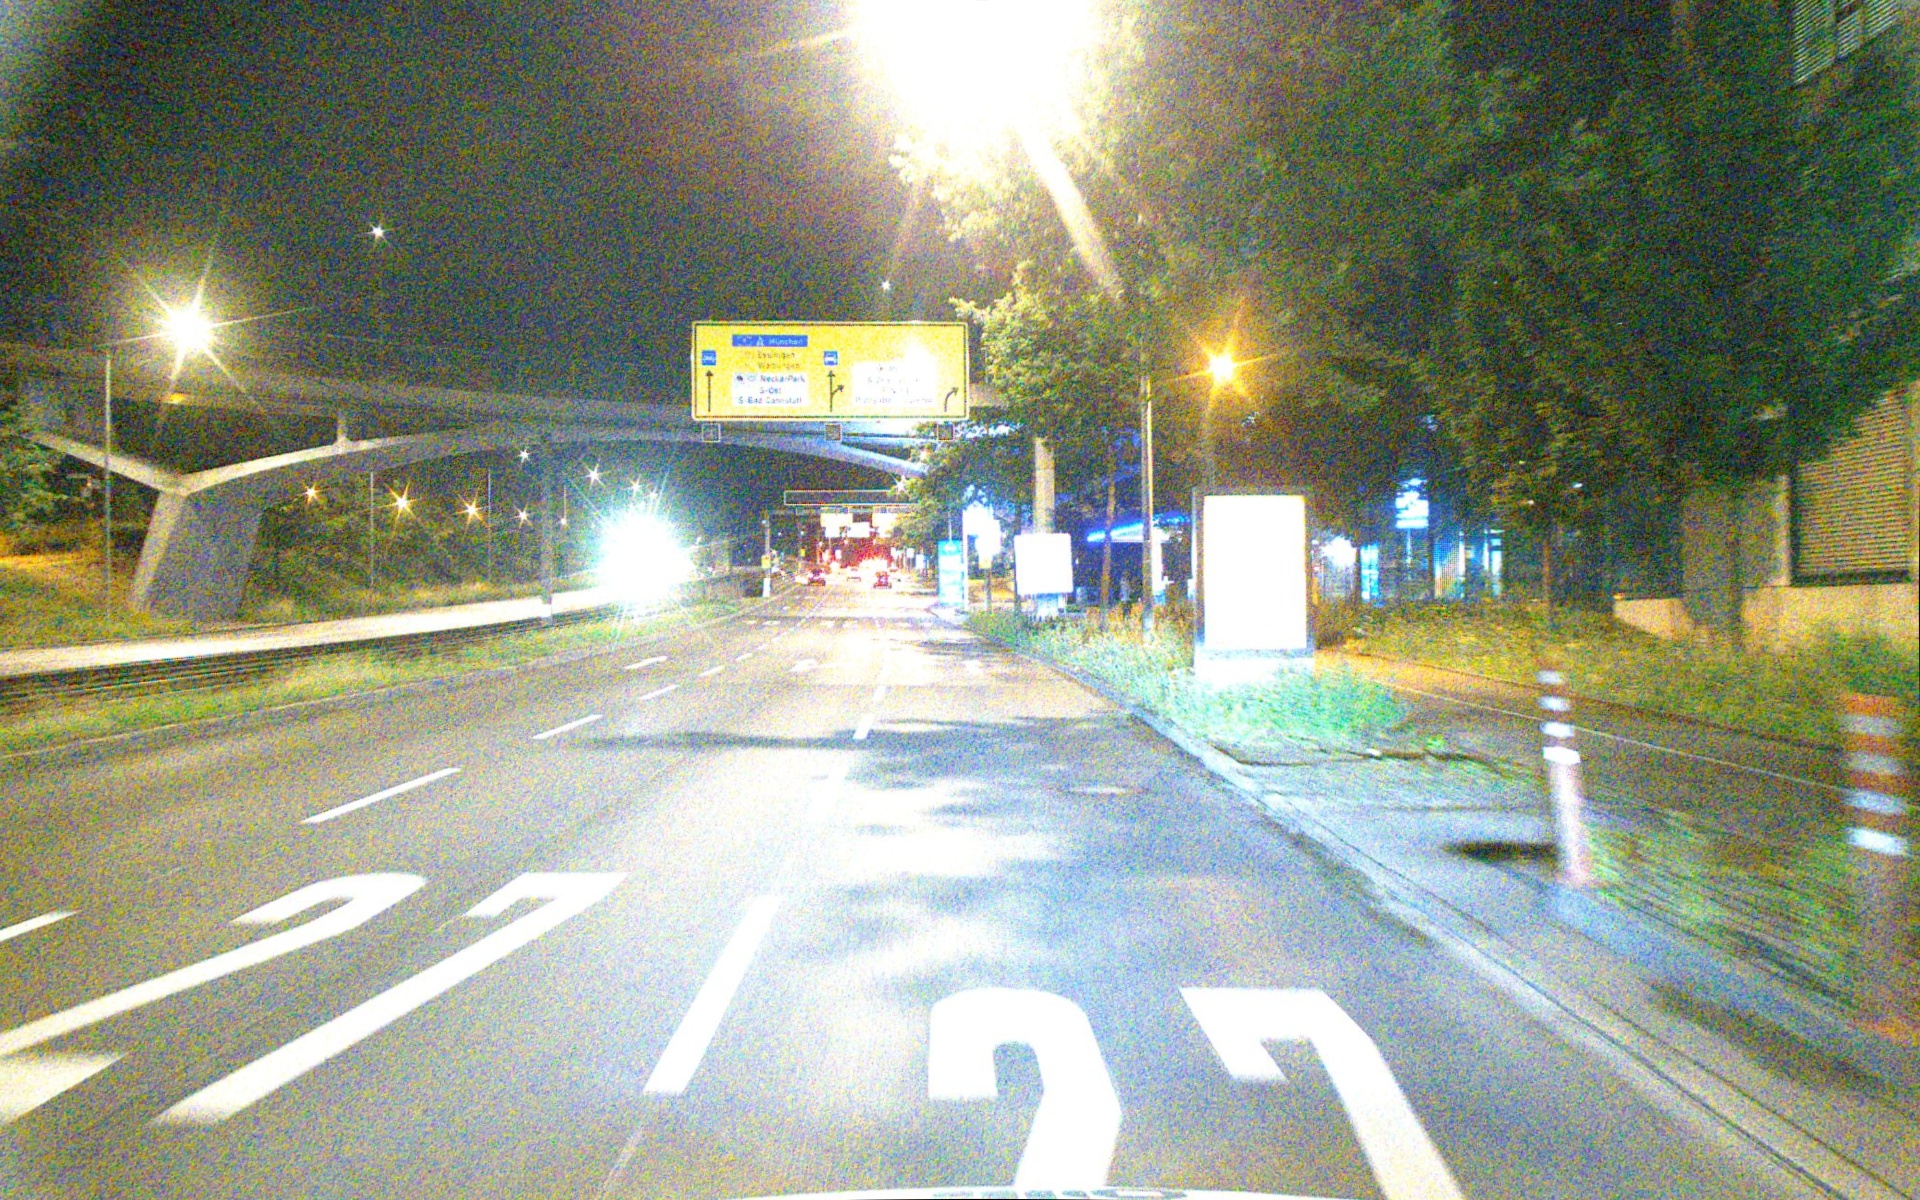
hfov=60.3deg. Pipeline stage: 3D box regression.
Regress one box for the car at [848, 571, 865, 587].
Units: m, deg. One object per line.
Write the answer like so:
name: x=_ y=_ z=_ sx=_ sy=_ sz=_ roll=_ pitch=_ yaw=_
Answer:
car: x=-12.083 y=-2.469 z=193.157 sx=1.746 sy=1.741 sz=3.999 roll=1 pitch=0 yaw=-1

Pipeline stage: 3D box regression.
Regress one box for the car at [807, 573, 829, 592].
car: x=-14.093 y=-1.725 z=164.182 sx=1.928 sy=1.741 sz=3.999 roll=1 pitch=0 yaw=-1

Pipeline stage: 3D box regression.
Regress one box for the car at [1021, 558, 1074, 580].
car: x=7.016 y=-2.452 z=132.216 sx=4.037 sy=1.549 sz=1.822 roll=-2 pitch=-1 yaw=-2

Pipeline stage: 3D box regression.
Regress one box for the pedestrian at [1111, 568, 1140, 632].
pedestrian: x=5.187 y=-0.013 z=51.796 sx=0.787 sy=1.946 sz=0.794 roll=-3 pitch=0 yaw=6

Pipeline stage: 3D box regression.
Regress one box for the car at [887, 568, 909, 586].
car: x=-7.505 y=-2.753 z=201.200 sx=2.597 sy=2.049 sz=5.298 roll=1 pitch=0 yaw=-1

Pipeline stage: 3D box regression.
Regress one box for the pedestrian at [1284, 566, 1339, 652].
pedestrian: x=7.361 y=0.180 z=34.651 sx=0.835 sy=1.737 sz=0.957 roll=3 pitch=0 yaw=-3

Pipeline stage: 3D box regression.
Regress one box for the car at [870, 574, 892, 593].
car: x=-7.519 y=-1.588 z=158.021 sx=1.928 sy=1.741 sz=3.999 roll=1 pitch=0 yaw=-1
